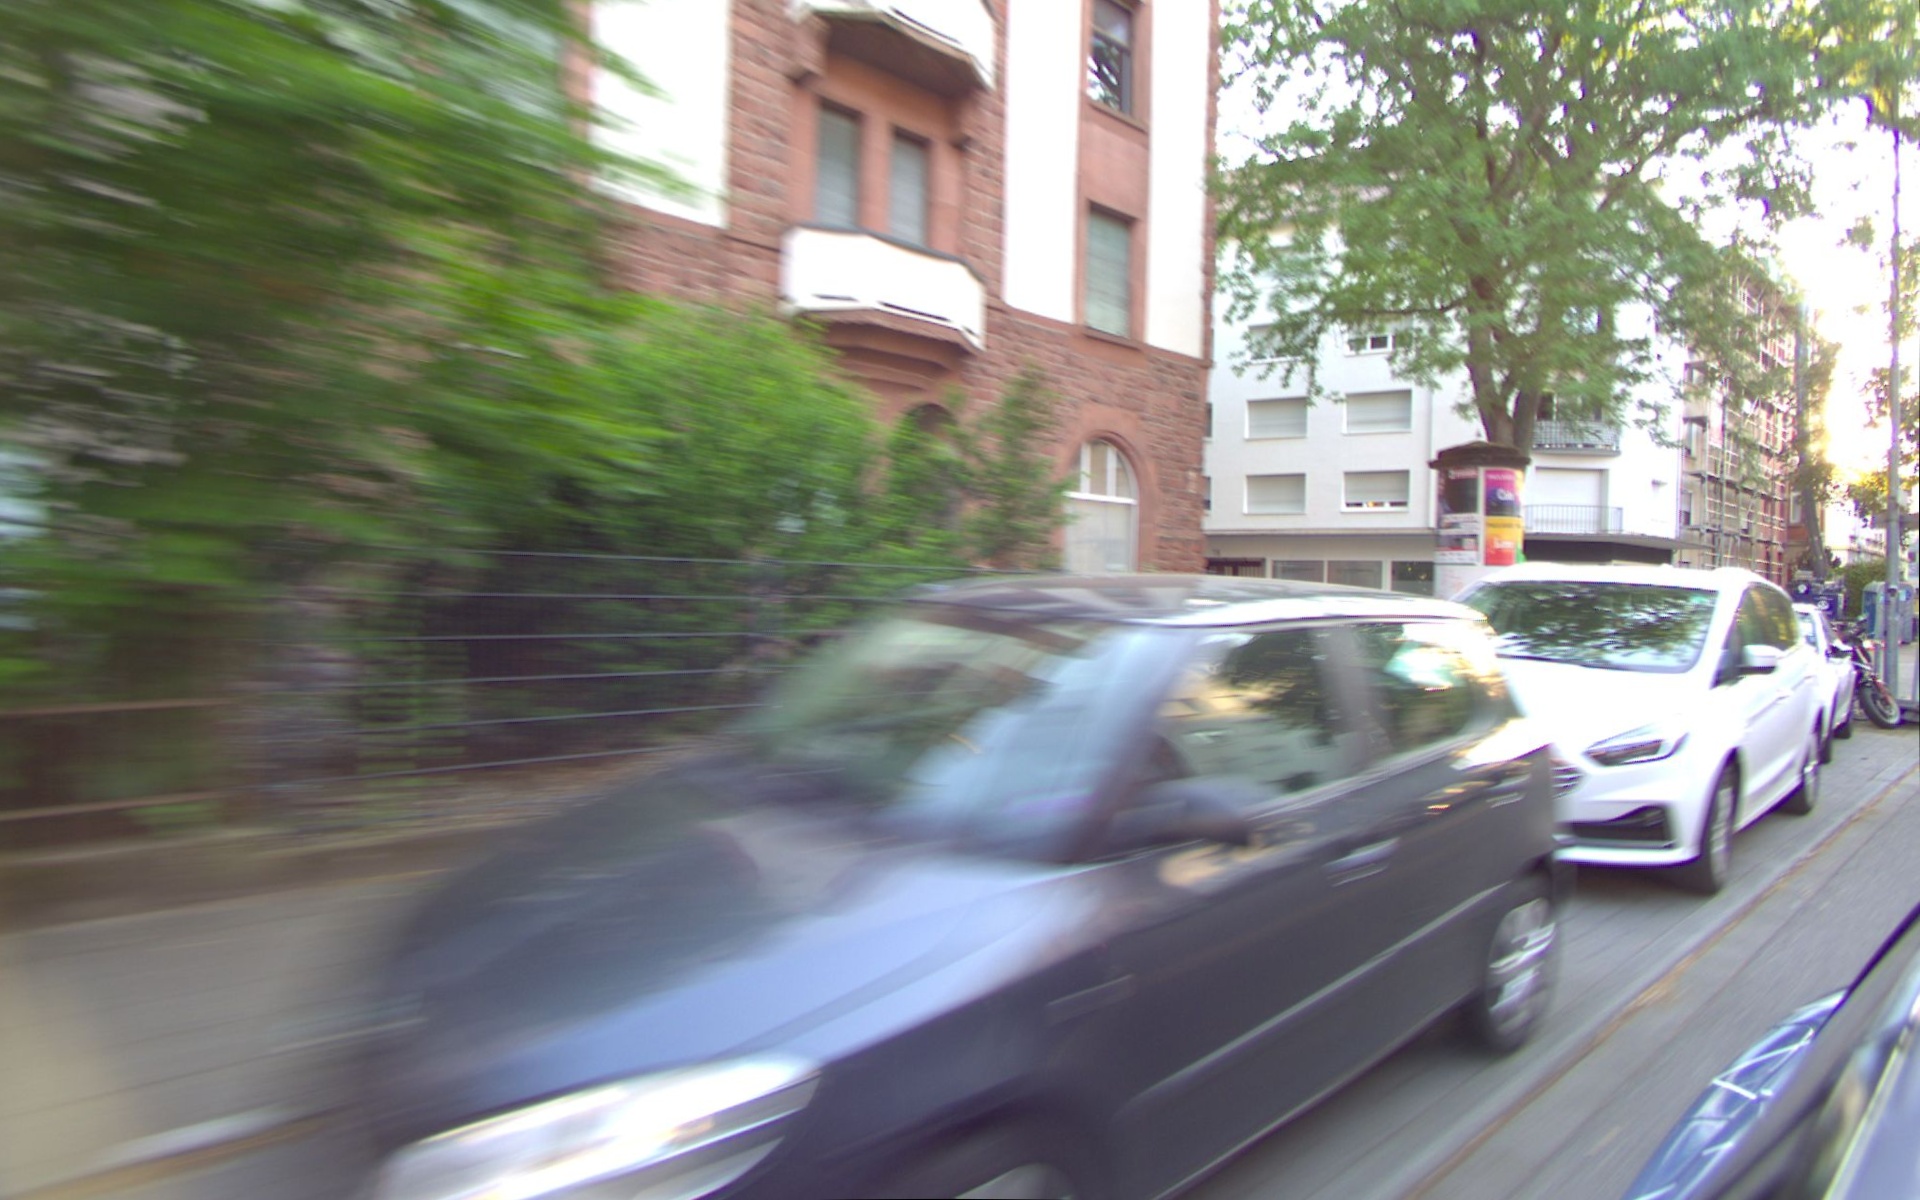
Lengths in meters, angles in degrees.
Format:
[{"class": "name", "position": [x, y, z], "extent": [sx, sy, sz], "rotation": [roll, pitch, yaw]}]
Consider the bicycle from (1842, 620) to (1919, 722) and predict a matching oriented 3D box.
[{"class": "bicycle", "position": [11.596, 0.850, 12.339], "extent": [1.602, 1.188, 0.446], "rotation": [1, 0, -15]}]

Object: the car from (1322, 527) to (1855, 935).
[{"class": "car", "position": [4.275, 0.522, 6.509], "extent": [4.524, 1.732, 1.800], "rotation": [0, 2, -43]}]

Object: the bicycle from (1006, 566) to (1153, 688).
[{"class": "bicycle", "position": [1.104, 0.228, 9.636], "extent": [0.325, 1.047, 1.512], "rotation": [2, 1, -42]}]

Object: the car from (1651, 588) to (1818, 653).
[{"class": "car", "position": [21.387, 0.546, 28.127], "extent": [3.450, 1.593, 1.608], "rotation": [2, 0, 31]}]

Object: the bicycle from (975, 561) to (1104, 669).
[{"class": "bicycle", "position": [0.815, 0.130, 10.740], "extent": [0.325, 1.047, 1.512], "rotation": [2, 1, -42]}]

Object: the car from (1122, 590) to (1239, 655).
[{"class": "car", "position": [5.968, 0.541, 27.076], "extent": [1.812, 1.573, 3.954], "rotation": [1, 1, 32]}]

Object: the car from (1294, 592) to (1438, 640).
[{"class": "car", "position": [13.096, 0.471, 32.687], "extent": [4.194, 1.446, 1.642], "rotation": [1, 1, 27]}]

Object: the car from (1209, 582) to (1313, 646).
[{"class": "car", "position": [7.661, 0.325, 25.579], "extent": [1.669, 1.496, 3.393], "rotation": [1, 0, 32]}]

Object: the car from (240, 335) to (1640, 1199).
[{"class": "car", "position": [0.451, 0.522, 3.058], "extent": [4.137, 1.626, 1.689], "rotation": [0, 1, -42]}]
